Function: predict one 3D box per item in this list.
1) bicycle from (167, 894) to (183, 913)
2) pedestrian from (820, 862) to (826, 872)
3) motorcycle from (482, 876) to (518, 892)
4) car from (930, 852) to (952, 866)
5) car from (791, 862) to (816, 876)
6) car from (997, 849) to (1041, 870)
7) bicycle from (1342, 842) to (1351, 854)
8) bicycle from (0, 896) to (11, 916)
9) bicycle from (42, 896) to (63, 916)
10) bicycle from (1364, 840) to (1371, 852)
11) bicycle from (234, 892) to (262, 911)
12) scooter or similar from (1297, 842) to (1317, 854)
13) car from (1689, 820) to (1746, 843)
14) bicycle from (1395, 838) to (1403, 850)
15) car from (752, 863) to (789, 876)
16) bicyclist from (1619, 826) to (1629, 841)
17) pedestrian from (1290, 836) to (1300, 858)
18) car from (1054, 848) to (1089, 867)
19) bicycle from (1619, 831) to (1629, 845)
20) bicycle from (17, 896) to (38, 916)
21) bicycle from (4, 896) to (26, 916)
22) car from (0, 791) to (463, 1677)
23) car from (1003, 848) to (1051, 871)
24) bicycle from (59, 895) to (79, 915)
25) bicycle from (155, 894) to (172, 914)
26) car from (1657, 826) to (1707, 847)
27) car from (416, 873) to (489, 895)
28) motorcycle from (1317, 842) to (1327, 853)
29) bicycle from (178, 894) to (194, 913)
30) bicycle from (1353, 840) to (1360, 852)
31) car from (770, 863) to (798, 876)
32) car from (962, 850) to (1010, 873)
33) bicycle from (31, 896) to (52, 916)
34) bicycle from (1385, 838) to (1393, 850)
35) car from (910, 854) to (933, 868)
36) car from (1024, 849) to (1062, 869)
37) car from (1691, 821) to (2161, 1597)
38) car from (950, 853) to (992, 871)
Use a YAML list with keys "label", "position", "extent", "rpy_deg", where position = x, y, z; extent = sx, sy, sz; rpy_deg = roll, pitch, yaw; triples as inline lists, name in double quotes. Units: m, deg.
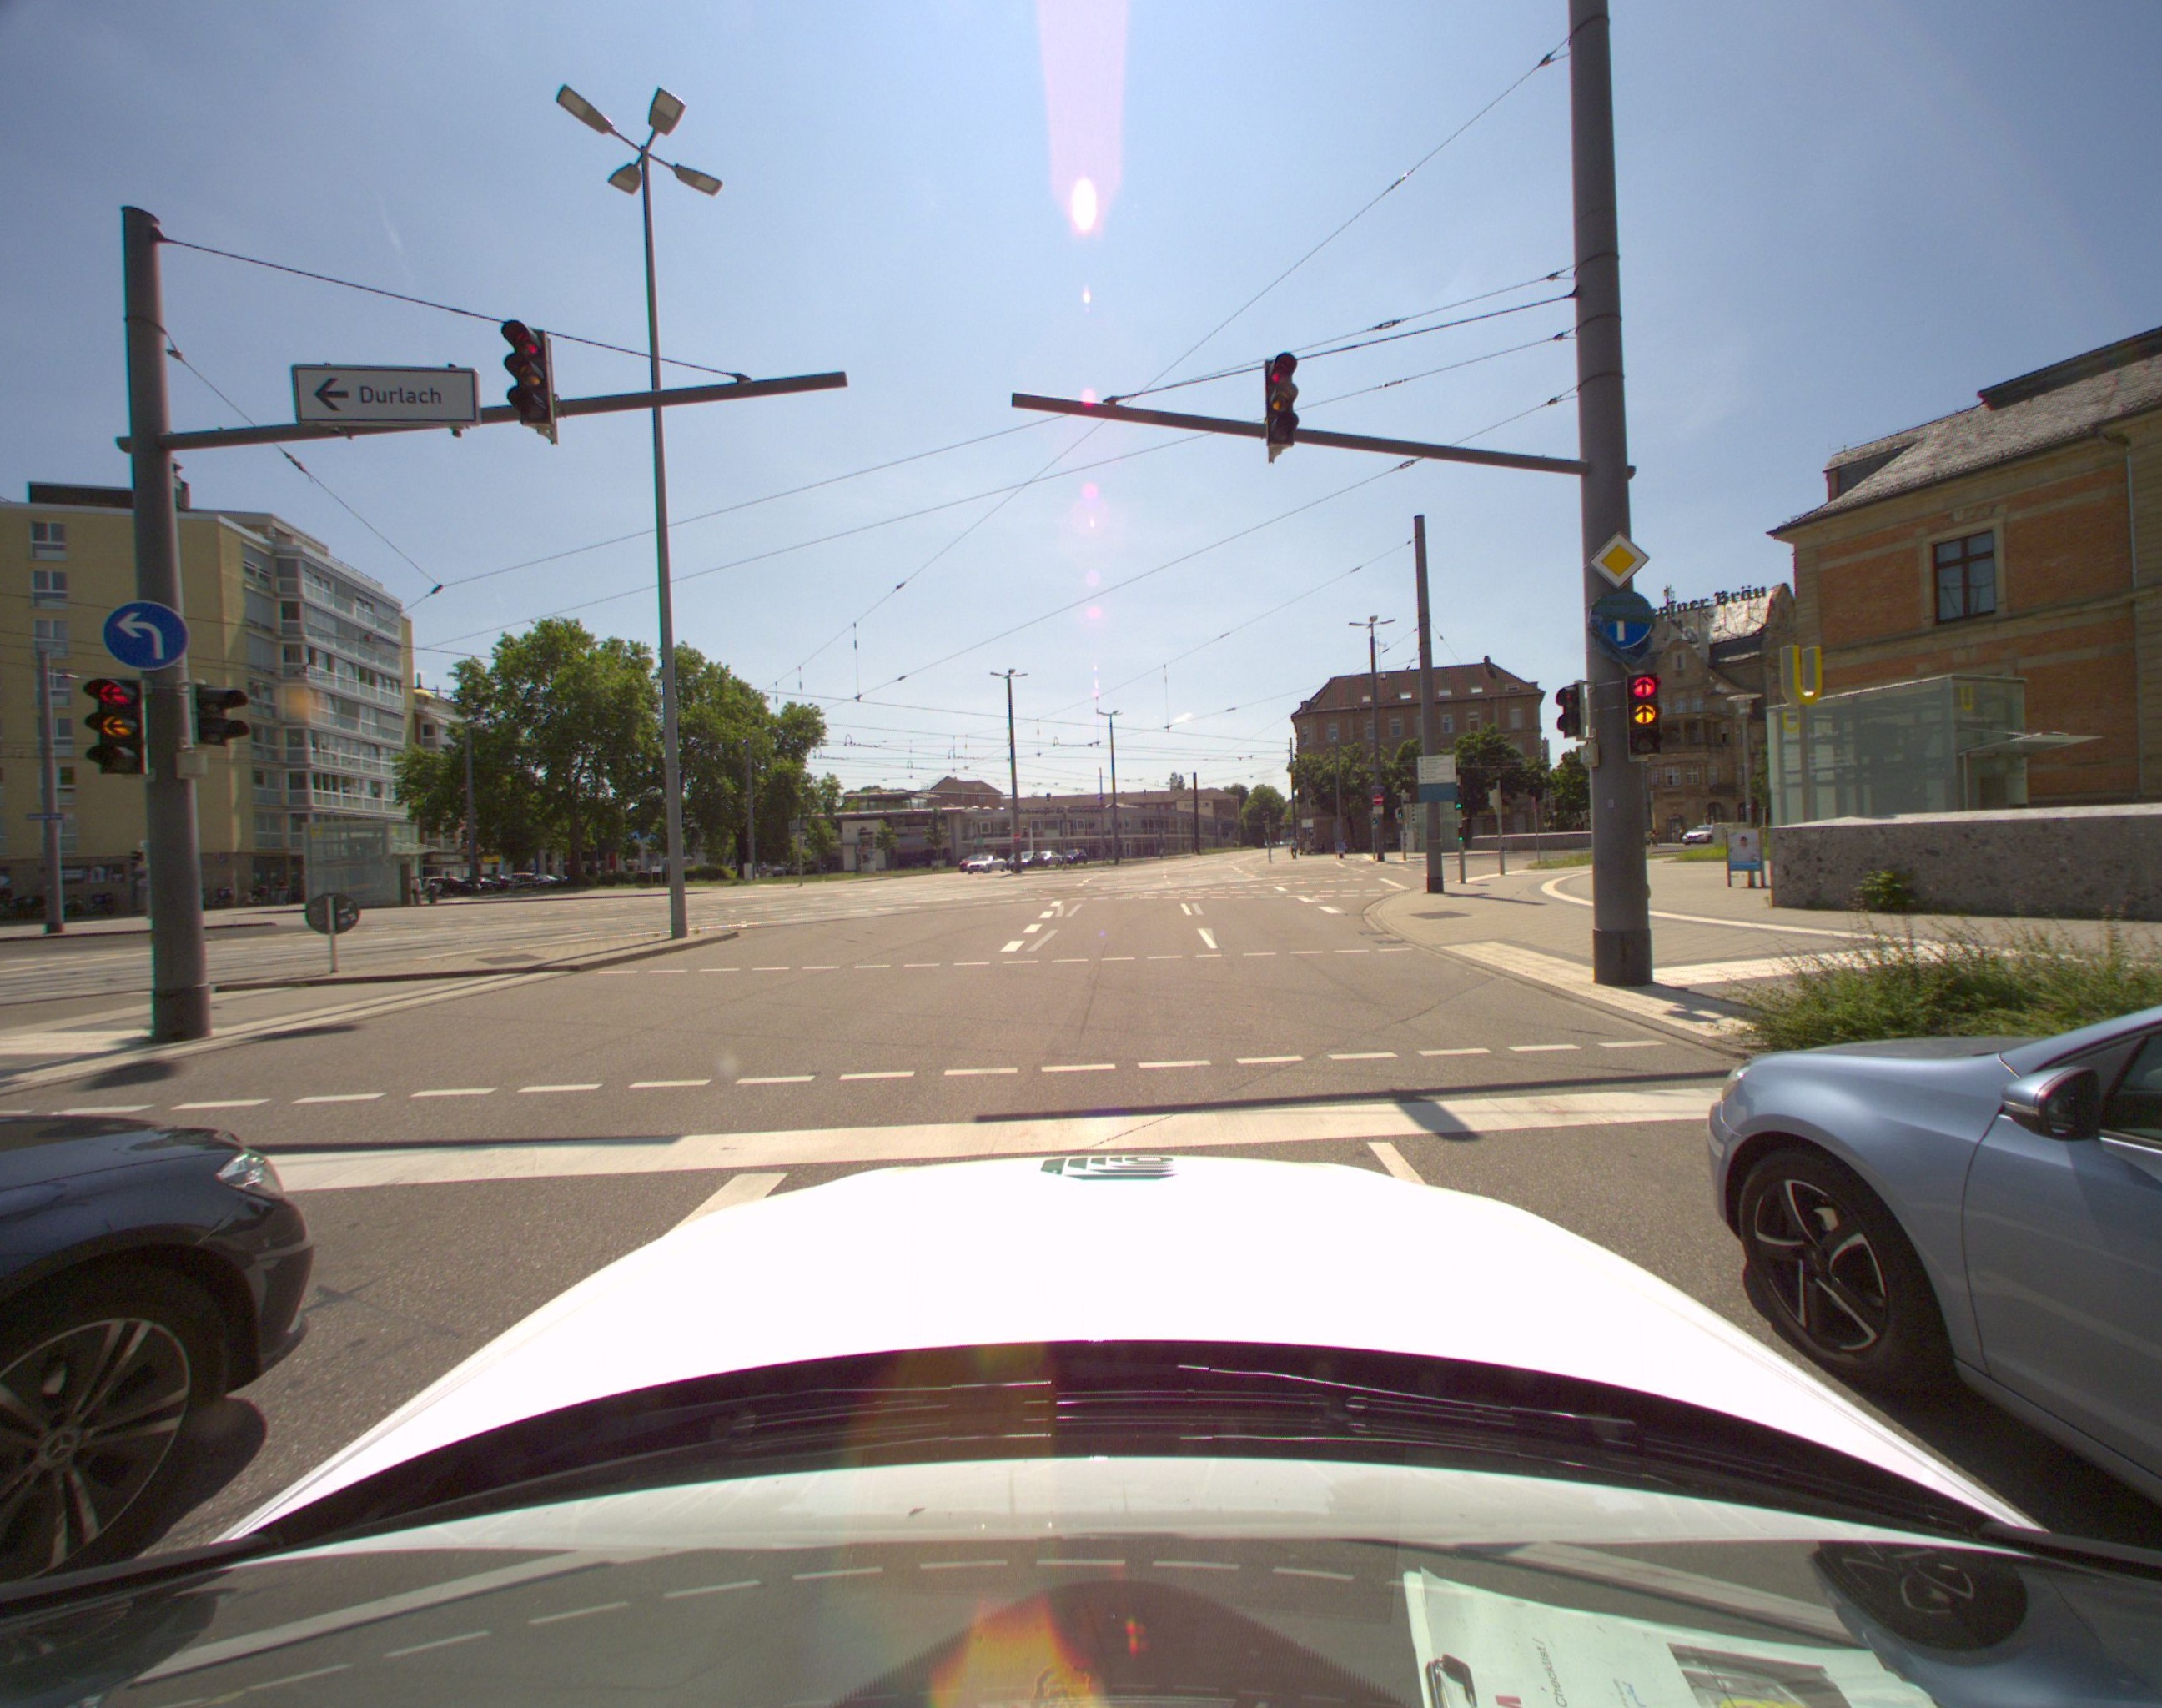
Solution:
- label: "bicycle"
  position: [-51.220, 2.798, 46.039]
  extent: [0.435, 1.026, 1.426]
  rpy_deg: [-2, 0, -42]
- label: "pedestrian"
  position: [-31.212, 1.575, 98.674]
  extent: [0.510, 1.204, 0.446]
  rpy_deg: [-2, 0, 7]
- label: "motorcycle"
  position: [-39.308, 2.051, 55.108]
  extent: [1.925, 0.961, 0.521]
  rpy_deg: [-2, 0, -29]
- label: "car"
  position: [-17.252, 0.644, 100.645]
  extent: [1.913, 1.707, 4.002]
  rpy_deg: [0, -1, 2]
- label: "car"
  position: [-34.753, 1.847, 102.173]
  extent: [1.763, 1.510, 4.322]
  rpy_deg: [-2, 0, -3]
- label: "car"
  position: [-5.314, 0.443, 70.615]
  extent: [1.977, 1.700, 4.870]
  rpy_deg: [-2, 0, 19]
- label: "bicycle"
  position: [25.557, -0.582, 78.450]
  extent: [0.440, 1.146, 2.099]
  rpy_deg: [-1, -1, 9]
- label: "bicycle"
  position: [-58.454, 2.832, 44.052]
  extent: [0.435, 1.026, 1.426]
  rpy_deg: [-2, 0, -42]
- label: "bicycle"
  position: [-56.404, 2.823, 44.671]
  extent: [0.435, 1.026, 1.426]
  rpy_deg: [-2, 0, -42]
- label: "bicycle"
  position: [27.394, -0.785, 77.946]
  extent: [0.546, 1.120, 1.829]
  rpy_deg: [-2, 0, 18]
- label: "bicycle"
  position: [-49.269, 2.806, 48.201]
  extent: [0.432, 1.026, 1.437]
  rpy_deg: [-2, 0, -14]
- label: "scooter or similar"
  position: [22.590, -0.585, 81.274]
  extent: [1.786, 1.181, 0.597]
  rpy_deg: [-2, 0, -9]
- label: "car"
  position: [50.727, -1.789, 64.893]
  extent: [4.197, 1.605, 1.682]
  rpy_deg: [-3, 0, -23]
- label: "bicycle"
  position: [30.504, -0.958, 78.210]
  extent: [0.546, 1.120, 1.938]
  rpy_deg: [-2, 0, 18]
- label: "car"
  position: [-41.265, 2.033, 108.258]
  extent: [4.343, 1.510, 1.754]
  rpy_deg: [-2, 0, -33]
- label: "bicyclist"
  position: [56.287, -2.119, 84.410]
  extent: [0.730, 1.610, 1.084]
  rpy_deg: [-1, -1, 30]
- label: "pedestrian"
  position: [17.336, -0.572, 66.063]
  extent: [0.461, 1.708, 0.637]
  rpy_deg: [-2, 0, -13]
- label: "car"
  position: [-0.935, 0.325, 83.320]
  extent: [2.061, 1.682, 4.870]
  rpy_deg: [-2, 0, 19]
- label: "bicycle"
  position: [56.291, -1.658, 84.422]
  extent: [0.730, 1.398, 2.025]
  rpy_deg: [-1, -1, 30]
- label: "bicycle"
  position: [-57.399, 2.827, 44.362]
  extent: [0.435, 1.026, 1.426]
  rpy_deg: [-2, 0, -42]
- label: "bicycle"
  position: [-57.854, 2.829, 44.203]
  extent: [0.435, 1.026, 1.426]
  rpy_deg: [-2, 0, -42]
- label: "car"
  position: [-2.966, 0.721, 0.193]
  extent: [1.790, 1.640, 4.808]
  rpy_deg: [-1, 0, 3]
- label: "car"
  position: [-4.226, 0.377, 64.757]
  extent: [1.977, 1.637, 4.870]
  rpy_deg: [-2, 0, 19]
- label: "bicycle"
  position: [-55.907, 2.822, 44.992]
  extent: [0.435, 1.026, 1.426]
  rpy_deg: [-2, 0, -42]
- label: "bicycle"
  position: [-51.684, 2.800, 45.870]
  extent: [0.435, 1.026, 1.426]
  rpy_deg: [-2, 0, -42]
- label: "car"
  position: [50.782, -1.508, 68.826]
  extent: [3.656, 1.605, 1.682]
  rpy_deg: [-3, 0, -22]
- label: "car"
  position: [-48.910, 2.336, 63.475]
  extent: [4.004, 1.420, 1.985]
  rpy_deg: [-2, 0, -23]
- label: "motorcycle"
  position: [23.286, -0.650, 78.714]
  extent: [0.577, 1.074, 1.949]
  rpy_deg: [-2, 0, 6]
- label: "bicycle"
  position: [-50.797, 2.797, 46.227]
  extent: [0.435, 1.026, 1.426]
  rpy_deg: [-2, 0, -42]
- label: "bicycle"
  position: [26.414, -0.814, 78.064]
  extent: [0.546, 1.120, 1.829]
  rpy_deg: [-2, 0, 18]
- label: "car"
  position: [-37.406, 1.906, 102.716]
  extent: [1.760, 1.510, 4.330]
  rpy_deg: [-2, 0, 3]
- label: "car"
  position: [-7.472, 0.550, 64.523]
  extent: [2.061, 1.580, 4.866]
  rpy_deg: [-2, 0, 15]
- label: "bicycle"
  position: [-56.911, 2.826, 44.597]
  extent: [0.435, 1.026, 1.426]
  rpy_deg: [-2, 0, -42]
- label: "bicycle"
  position: [29.523, -0.933, 78.008]
  extent: [0.546, 1.120, 1.879]
  rpy_deg: [-2, 0, 18]
- label: "car"
  position: [-19.694, 0.859, 100.710]
  extent: [1.913, 1.707, 4.002]
  rpy_deg: [0, -1, 2]
- label: "car"
  position: [-3.502, 0.463, 76.519]
  extent: [1.977, 1.739, 4.565]
  rpy_deg: [-2, 0, 19]
- label: "car"
  position: [2.829, 0.660, 0.716]
  extent: [1.645, 1.459, 4.004]
  rpy_deg: [-1, 0, 1]
- label: "car"
  position: [-10.002, 0.744, 74.449]
  extent: [1.979, 1.465, 4.866]
  rpy_deg: [-2, 0, 15]
